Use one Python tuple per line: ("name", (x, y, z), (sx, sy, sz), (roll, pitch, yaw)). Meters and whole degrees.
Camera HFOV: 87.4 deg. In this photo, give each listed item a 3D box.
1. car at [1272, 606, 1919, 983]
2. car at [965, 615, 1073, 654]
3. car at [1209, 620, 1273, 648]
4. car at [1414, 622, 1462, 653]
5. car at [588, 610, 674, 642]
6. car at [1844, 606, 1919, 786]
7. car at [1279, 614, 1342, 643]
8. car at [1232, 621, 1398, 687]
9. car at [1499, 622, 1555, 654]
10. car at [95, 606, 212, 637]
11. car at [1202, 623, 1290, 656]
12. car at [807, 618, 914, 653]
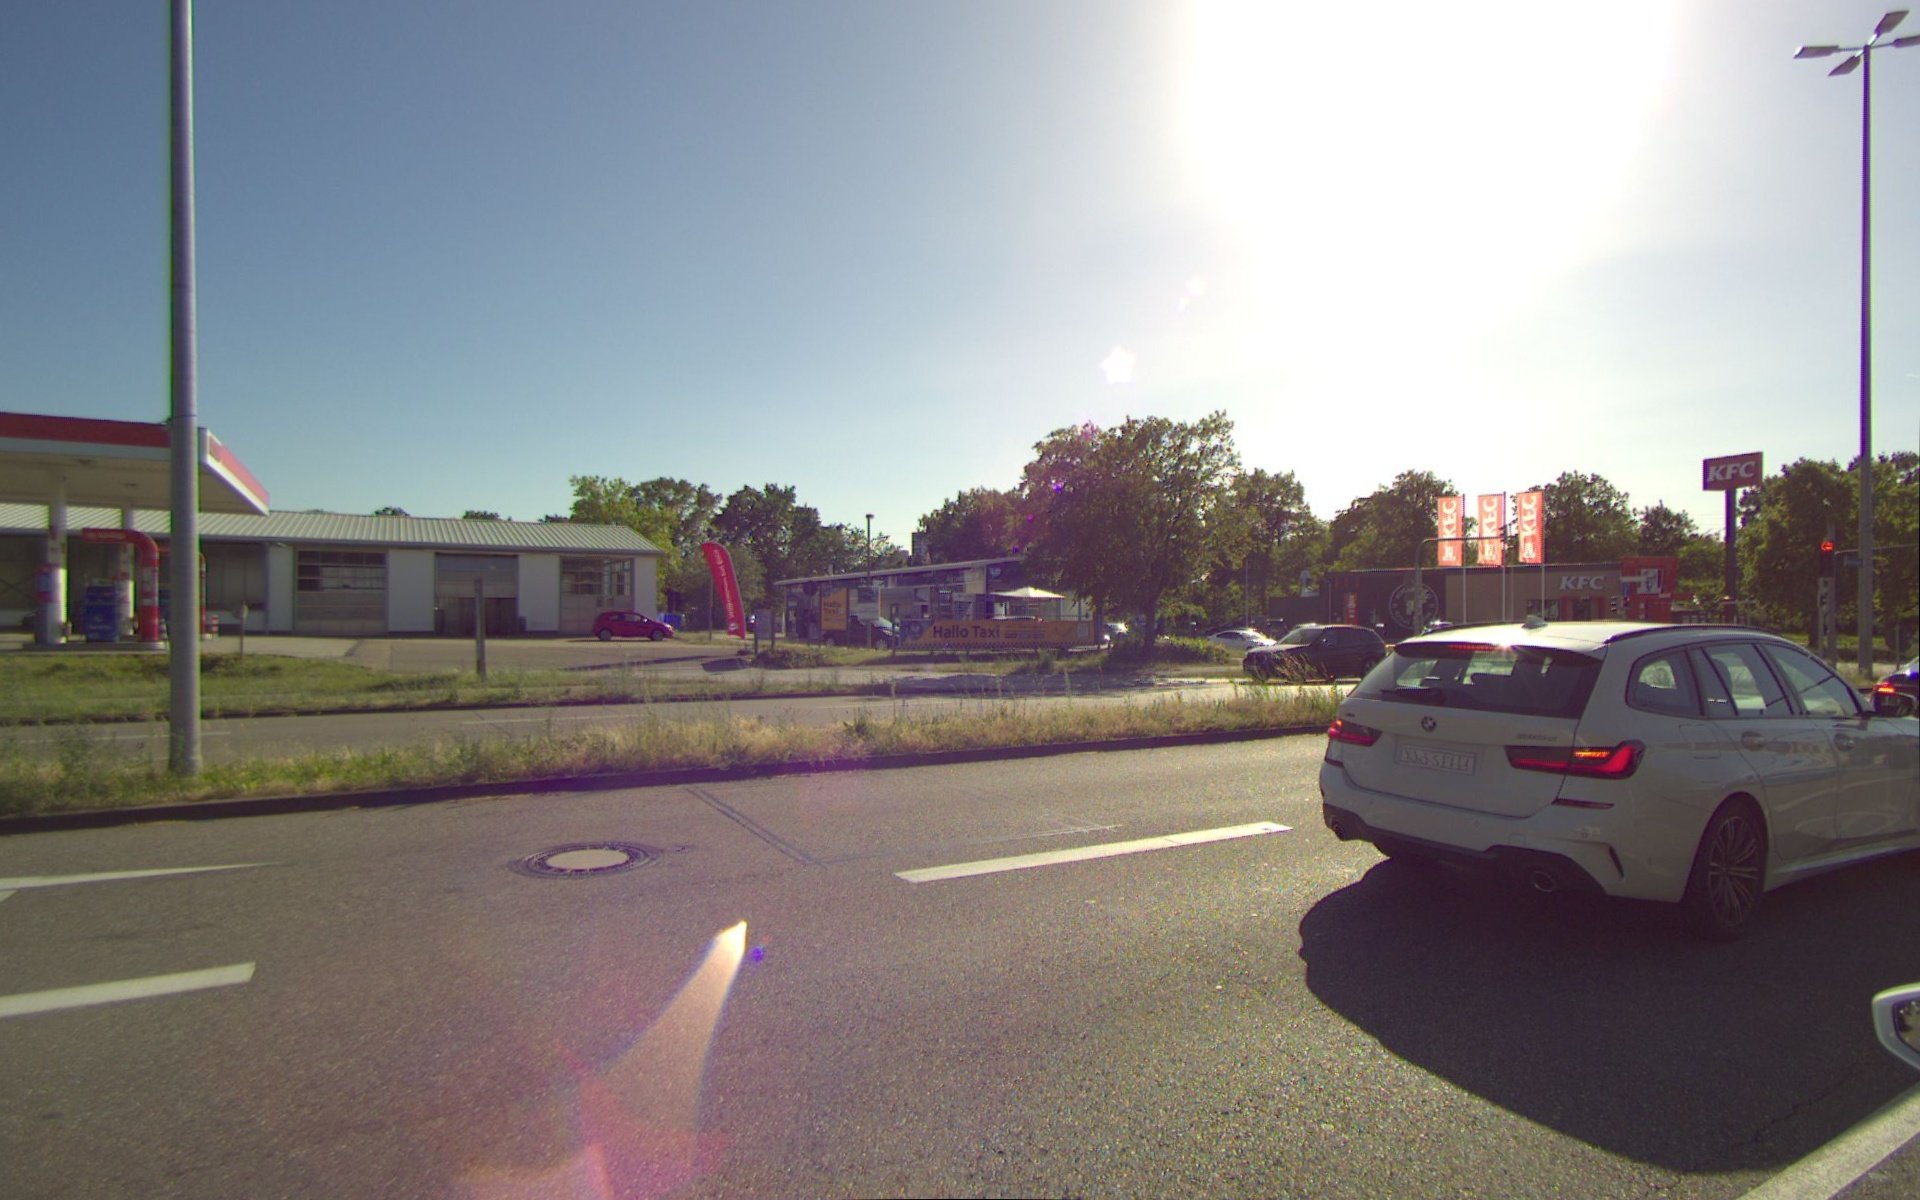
("car", (4.160, 0.823, 5.964), (4.541, 1.506, 1.804), (1, 0, -30))
("car", (2.415, 1.401, 41.273), (3.941, 1.461, 1.990), (2, 0, -21))
("car", (18.047, 2.172, 64.654), (1.974, 1.579, 3.747), (2, 0, -26))
("car", (29.636, 2.295, 62.409), (1.896, 1.763, 4.099), (2, 0, 14))
("car", (-16.495, 1.318, 50.367), (3.949, 1.491, 1.521), (2, 0, -24))
("car", (10.541, 0.887, 9.644), (4.491, 1.572, 1.803), (1, 0, -31))
("car", (24.369, 1.987, 69.813), (3.717, 1.837, 1.990), (2, 0, -22))
("car", (10.115, 1.506, 28.639), (4.254, 1.749, 1.801), (1, 0, -19))
("car", (34.488, 2.277, 61.199), (1.896, 1.763, 4.099), (2, 0, 14))
("car", (-34.580, 0.929, 43.183), (3.688, 1.203, 1.667), (2, 0, -30))
("car", (15.740, 2.148, 55.432), (1.914, 1.600, 4.599), (2, 0, -31))
("car", (-3.978, 1.375, 40.041), (3.930, 1.193, 1.774), (2, 0, 31))
